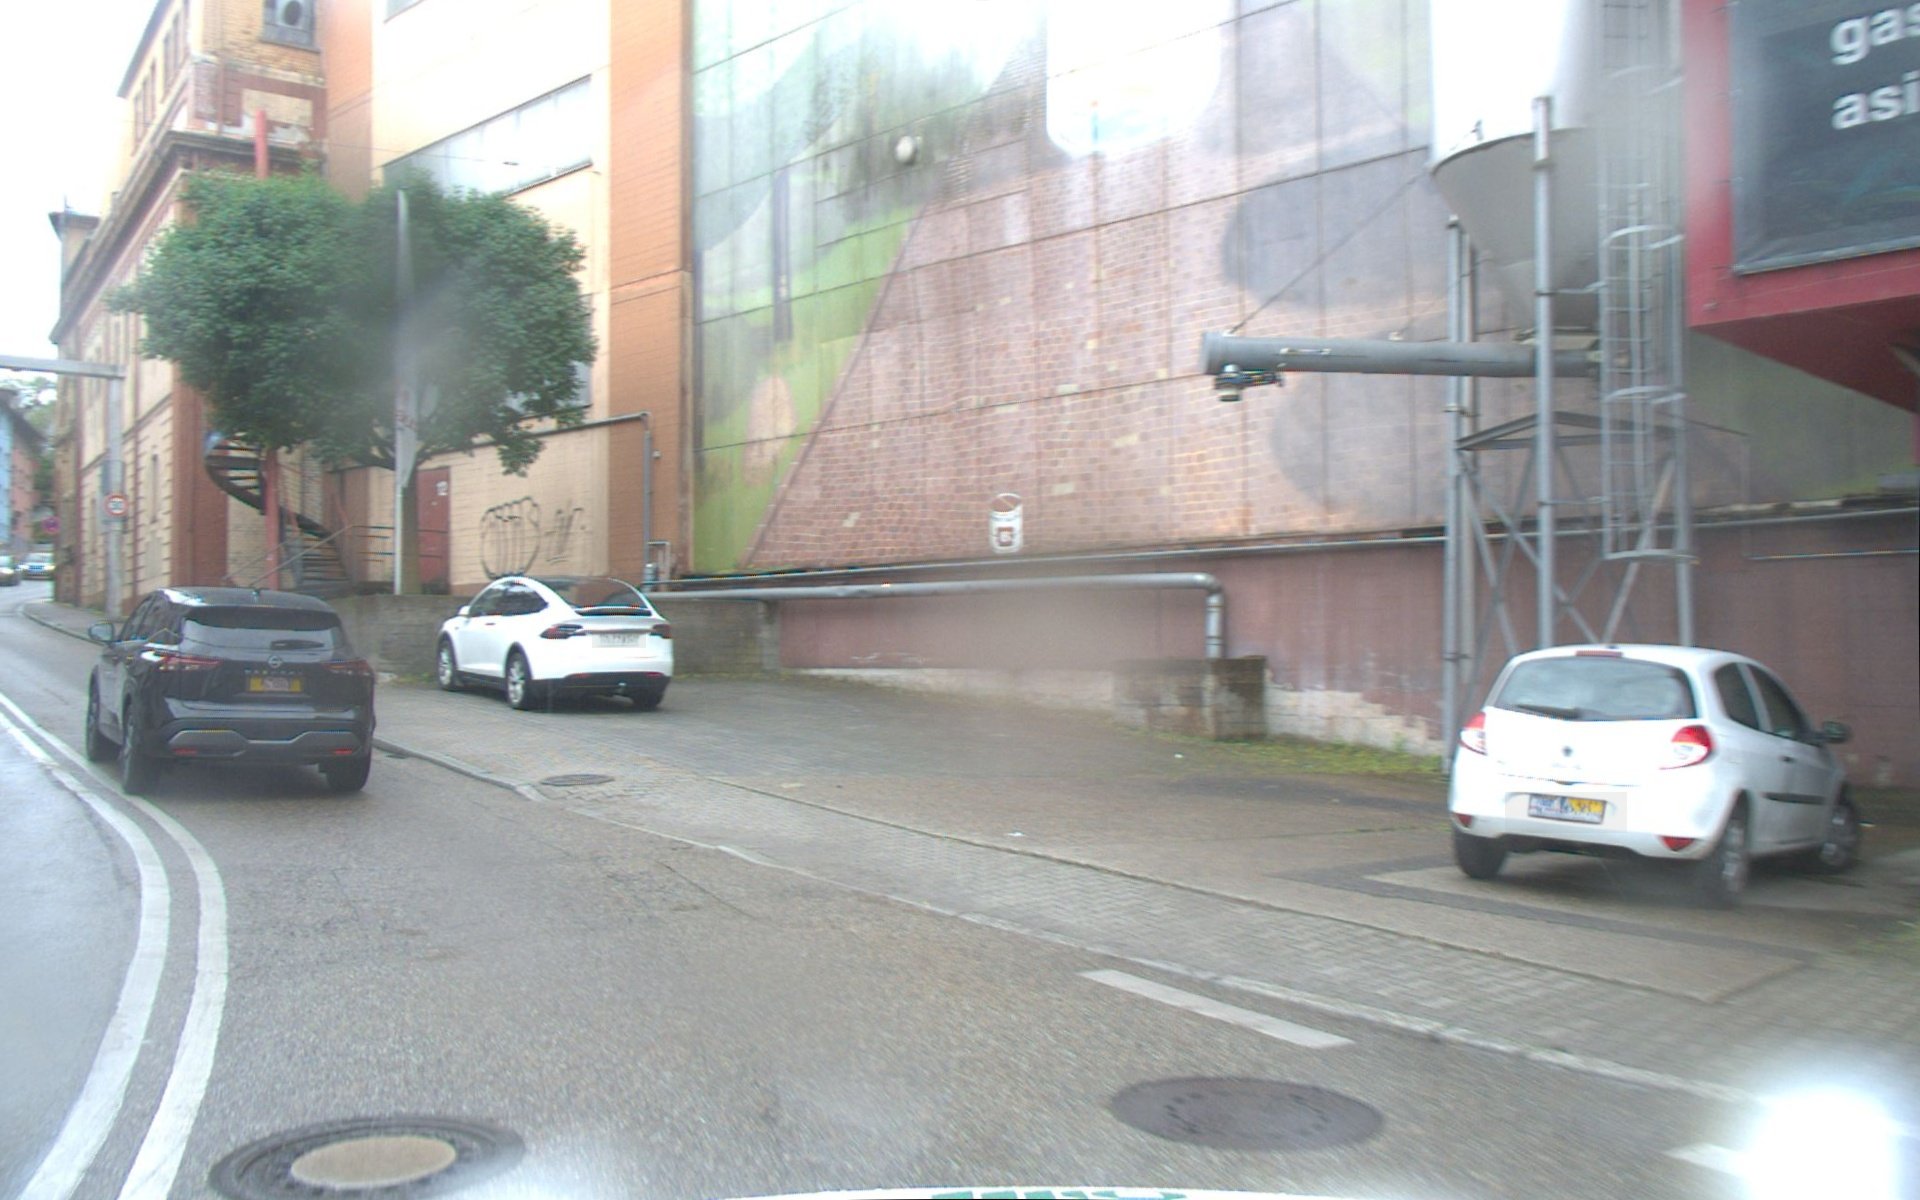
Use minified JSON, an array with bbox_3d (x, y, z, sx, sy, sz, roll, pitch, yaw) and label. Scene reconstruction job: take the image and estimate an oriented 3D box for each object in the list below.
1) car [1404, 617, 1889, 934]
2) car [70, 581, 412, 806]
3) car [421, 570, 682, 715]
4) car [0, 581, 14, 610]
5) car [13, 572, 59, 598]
[{"bbox_3d":[4.747,0.983,11.119,1.841,1.559,3.970,-1,1,41],"label":"car"},{"bbox_3d":[-6.257,0.697,14.147,1.866,1.622,3.871,3,-1,-36],"label":"car"},{"bbox_3d":[-5.718,0.495,22.683,1.837,1.645,4.855,1,2,-35],"label":"car"},{"bbox_3d":[-53.064,-0.227,90.274,1.767,1.537,3.977,0,-1,-19],"label":"car"},{"bbox_3d":[-56.952,-0.902,102.011,1.767,1.537,3.977,0,-1,-19],"label":"car"}]
